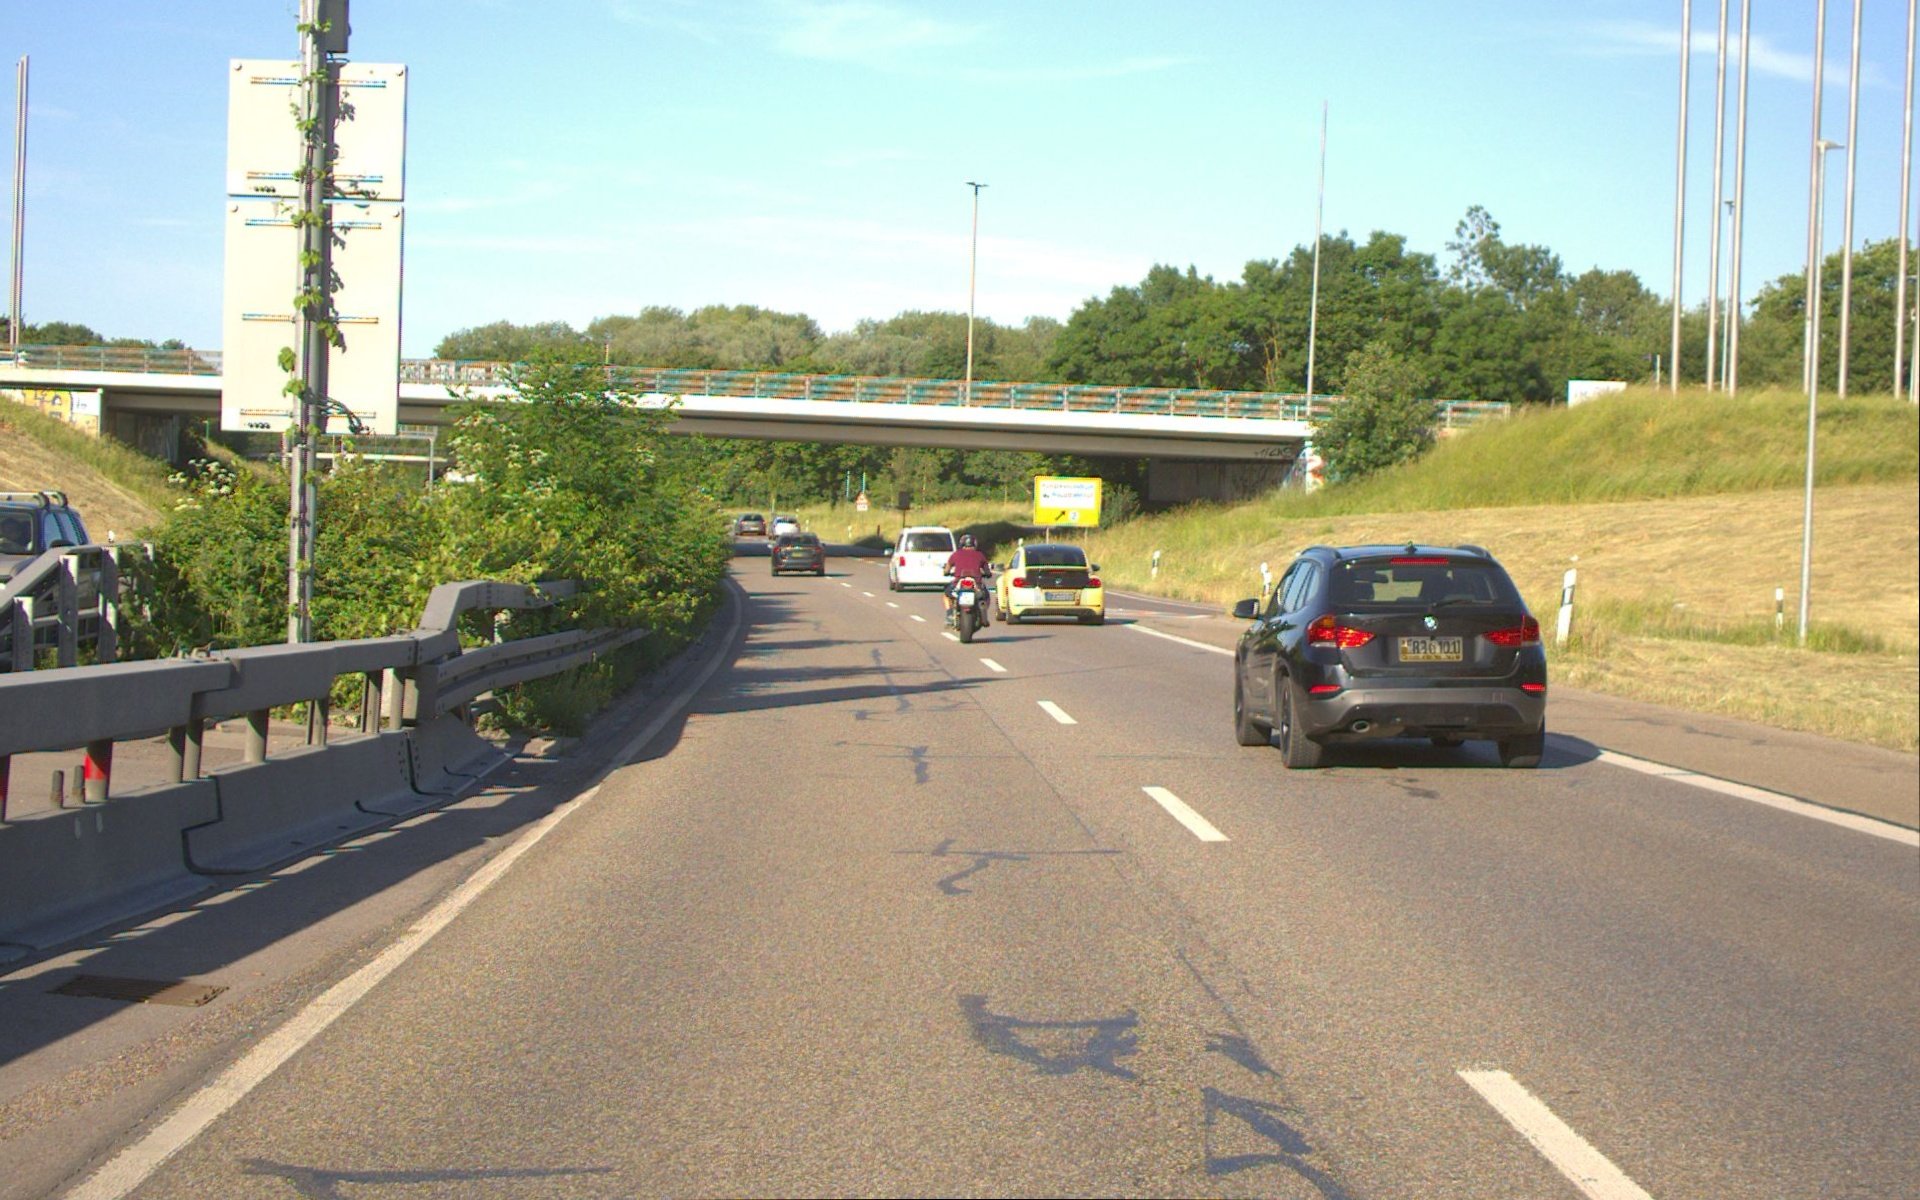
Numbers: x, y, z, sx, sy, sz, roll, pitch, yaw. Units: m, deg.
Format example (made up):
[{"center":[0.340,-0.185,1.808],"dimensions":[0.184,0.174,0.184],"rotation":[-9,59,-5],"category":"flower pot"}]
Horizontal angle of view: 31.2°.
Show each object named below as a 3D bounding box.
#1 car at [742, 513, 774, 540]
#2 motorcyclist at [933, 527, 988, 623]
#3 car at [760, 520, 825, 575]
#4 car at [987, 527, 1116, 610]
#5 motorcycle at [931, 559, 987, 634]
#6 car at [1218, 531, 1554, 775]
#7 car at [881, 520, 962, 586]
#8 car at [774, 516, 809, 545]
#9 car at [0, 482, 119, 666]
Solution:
[{"center":[-13.200,-4.804,224.904],"dimensions":[1.869,1.679,4.000],"rotation":[2,1,-1],"category":"car"},{"center":[0.001,-0.396,52.870],"dimensions":[0.816,1.442,1.094],"rotation":[1,1,0],"category":"motorcyclist"},{"center":[-5.680,-1.787,116.194],"dimensions":[1.896,1.761,4.001],"rotation":[0,2,-7],"category":"car"},{"center":[1.674,-0.609,64.077],"dimensions":[1.897,1.466,4.001],"rotation":[0,2,-6],"category":"car"},{"center":[-0.004,-0.076,52.808],"dimensions":[0.816,1.066,2.836],"rotation":[1,2,1],"category":"motorcycle"},{"center":[2.964,0.303,24.803],"dimensions":[1.698,1.501,4.580],"rotation":[0,2,-2],"category":"car"},{"center":[-1.100,-1.331,95.487],"dimensions":[1.897,1.761,4.001],"rotation":[-1,1,-6],"category":"car"},{"center":[-10.142,-4.188,206.873],"dimensions":[1.869,1.679,4.000],"rotation":[2,1,0],"category":"car"},{"center":[-8.986,-0.279,31.497],"dimensions":[1.716,1.569,4.164],"rotation":[1,1,-3],"category":"car"}]
